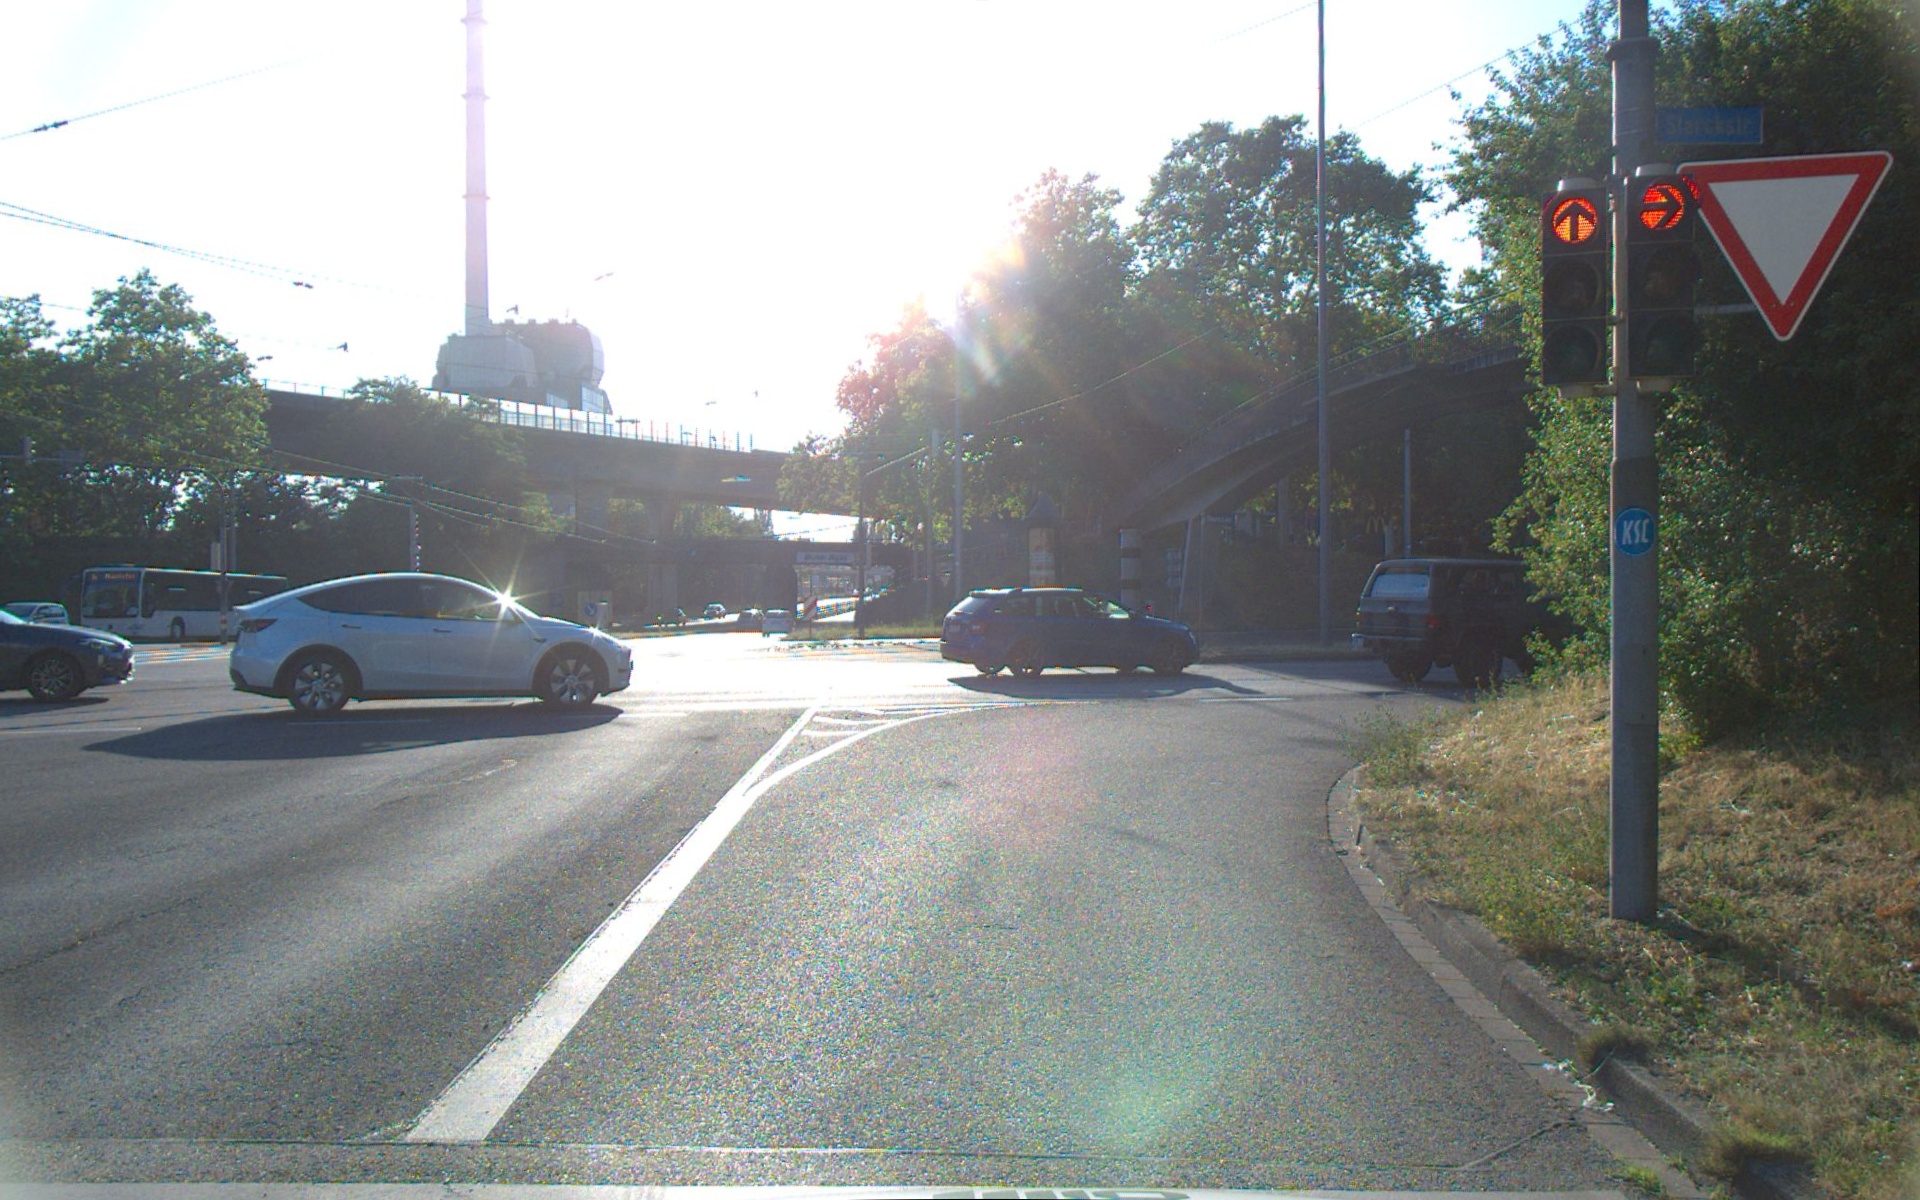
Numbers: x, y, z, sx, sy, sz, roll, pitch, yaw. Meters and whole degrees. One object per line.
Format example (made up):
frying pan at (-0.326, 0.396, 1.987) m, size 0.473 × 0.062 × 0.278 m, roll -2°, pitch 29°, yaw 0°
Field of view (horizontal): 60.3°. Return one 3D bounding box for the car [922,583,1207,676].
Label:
car at (1.775, 0.478, 27.896) m, size 4.545 × 1.484 × 1.683 m, roll 0°, pitch 0°, yaw -22°

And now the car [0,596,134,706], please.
car at (-13.352, 0.641, 21.581) m, size 4.413 × 1.393 × 1.683 m, roll 1°, pitch 0°, yaw -21°

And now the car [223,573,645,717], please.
car at (-6.318, 0.517, 20.048) m, size 4.685 × 1.602 × 1.682 m, roll 0°, pitch 0°, yaw -22°

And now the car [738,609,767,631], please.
car at (-13.897, 1.312, 110.865) m, size 1.632 × 1.429 × 4.442 m, roll 1°, pitch 0°, yaw -3°

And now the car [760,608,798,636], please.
car at (-9.984, 1.195, 91.394) m, size 1.631 × 1.429 × 4.196 m, roll 1°, pitch 0°, yaw -1°

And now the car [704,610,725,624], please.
car at (-26.437, 1.792, 177.963) m, size 1.573 × 1.444 × 4.008 m, roll 1°, pitch 0°, yaw 1°

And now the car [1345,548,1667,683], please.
car at (8.849, 0.246, 26.795) m, size 4.860 × 2.026 × 2.023 m, roll 0°, pitch 0°, yaw -23°

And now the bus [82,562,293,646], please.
bus at (-32.008, 0.303, 69.401) m, size 2.491 × 3.185 × 12.919 m, roll -1°, pitch -1°, yaw 2°

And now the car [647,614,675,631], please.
car at (-25.797, 1.923, 142.888) m, size 1.573 × 1.444 × 4.008 m, roll 1°, pitch 0°, yaw 1°

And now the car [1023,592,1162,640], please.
car at (4.573, 0.552, 57.237) m, size 4.505 × 1.602 × 1.685 m, roll 1°, pitch 0°, yaw -18°

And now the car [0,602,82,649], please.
car at (-32.161, 0.839, 57.214) m, size 1.574 × 1.538 × 4.006 m, roll 1°, pitch 0°, yaw -3°
